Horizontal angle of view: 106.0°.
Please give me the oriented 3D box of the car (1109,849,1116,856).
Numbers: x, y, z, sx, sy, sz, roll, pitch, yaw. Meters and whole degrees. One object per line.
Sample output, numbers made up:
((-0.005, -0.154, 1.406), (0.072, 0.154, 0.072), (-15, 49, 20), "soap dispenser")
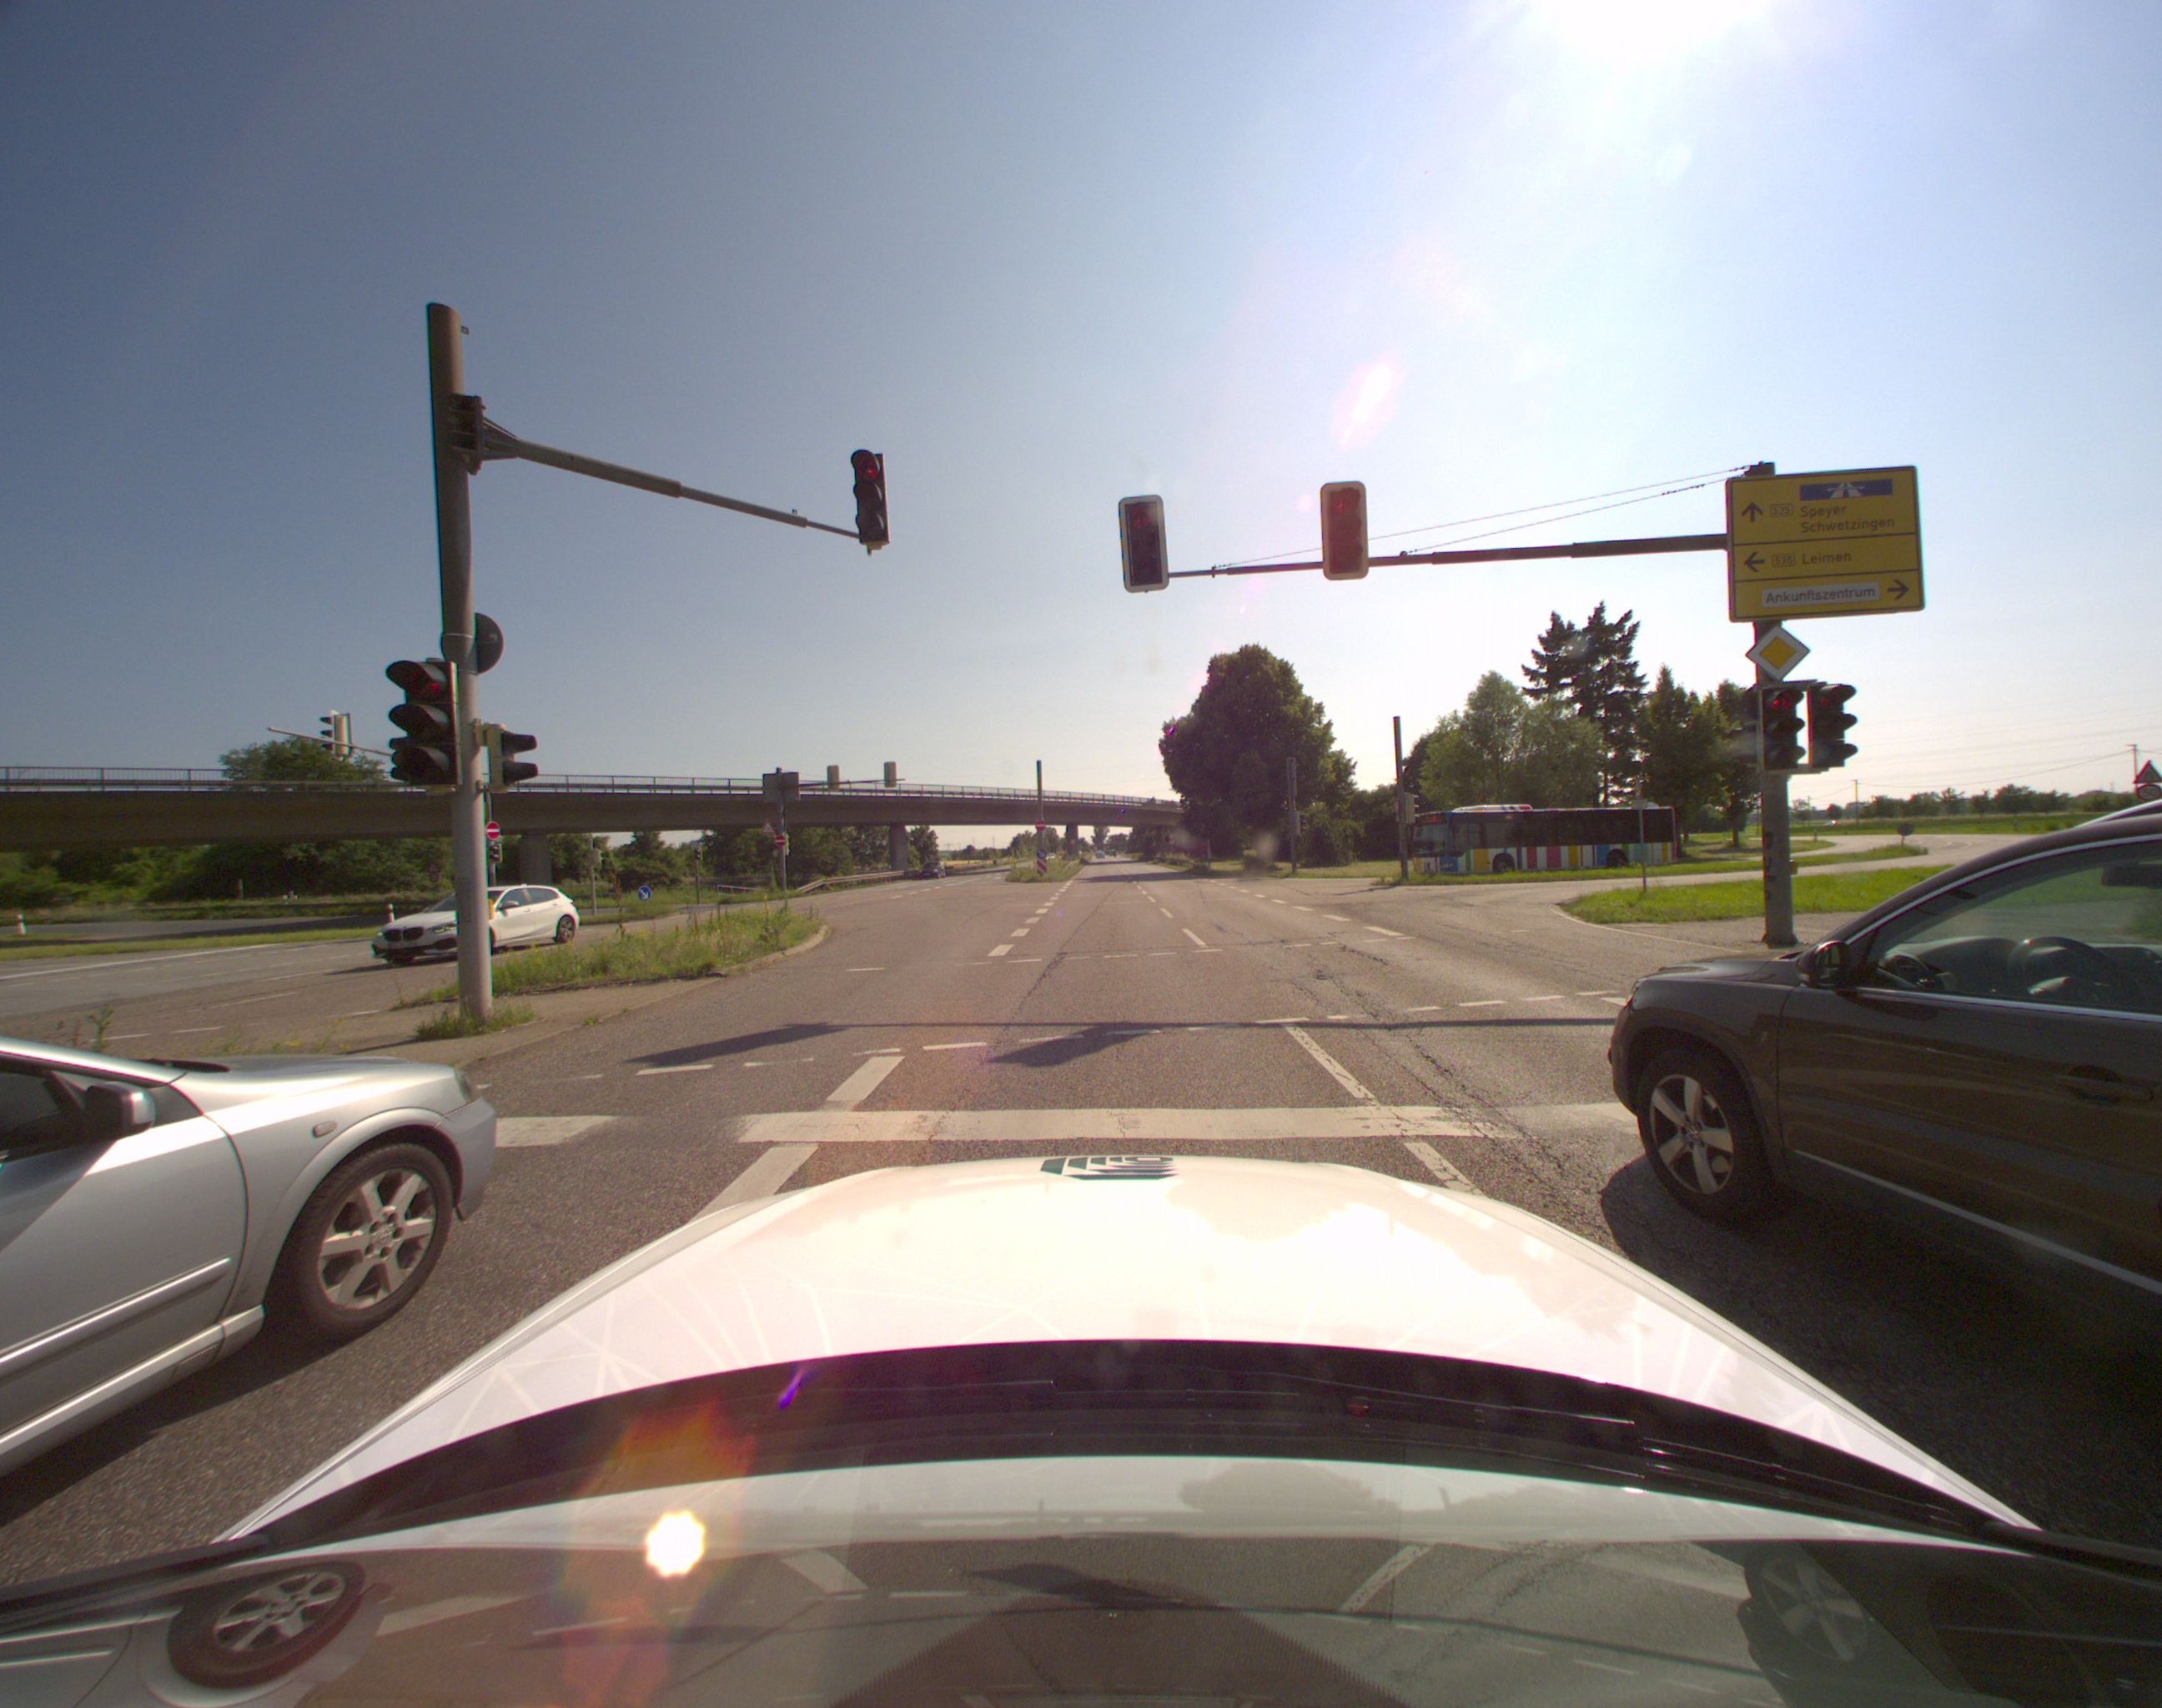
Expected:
((8.559, -0.398, 222.112), (1.866, 1.640, 4.003), (-2, 0, 3), "car")

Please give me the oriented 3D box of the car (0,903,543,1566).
((-3.224, 0.920, 1.420), (1.667, 1.335, 4.100), (-3, 0, 2), "car")

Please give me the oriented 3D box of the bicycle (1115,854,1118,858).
((8.690, 0.465, 198.108), (0.598, 0.983, 2.362), (-3, 0, 2), "bicycle")

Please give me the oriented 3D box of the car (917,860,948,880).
((-12.190, 1.317, 67.154), (1.608, 1.442, 3.778), (-5, 0, 2), "car")

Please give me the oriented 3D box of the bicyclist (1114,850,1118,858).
((8.570, 0.019, 198.430), (1.003, 1.886, 1.327), (-3, 0, 2), "bicyclist")

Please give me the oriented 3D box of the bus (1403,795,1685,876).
((20.289, -0.818, 35.685), (11.954, 2.877, 2.928), (-3, 0, -14), "bus")

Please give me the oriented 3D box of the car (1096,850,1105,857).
((4.210, -0.036, 174.577), (1.843, 1.461, 4.003), (-1, 0, 3), "car")

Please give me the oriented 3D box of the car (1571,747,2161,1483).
((3.304, 0.579, 2.017), (1.749, 1.655, 4.147), (-1, 0, 1), "car")

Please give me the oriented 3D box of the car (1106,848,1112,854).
((8.731, -0.918, 254.440), (1.986, 1.631, 4.001), (0, -1, 1), "car")

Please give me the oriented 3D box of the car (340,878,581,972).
((-13.147, 1.417, 17.649), (1.876, 1.515, 4.148), (-5, 0, 1), "car")
